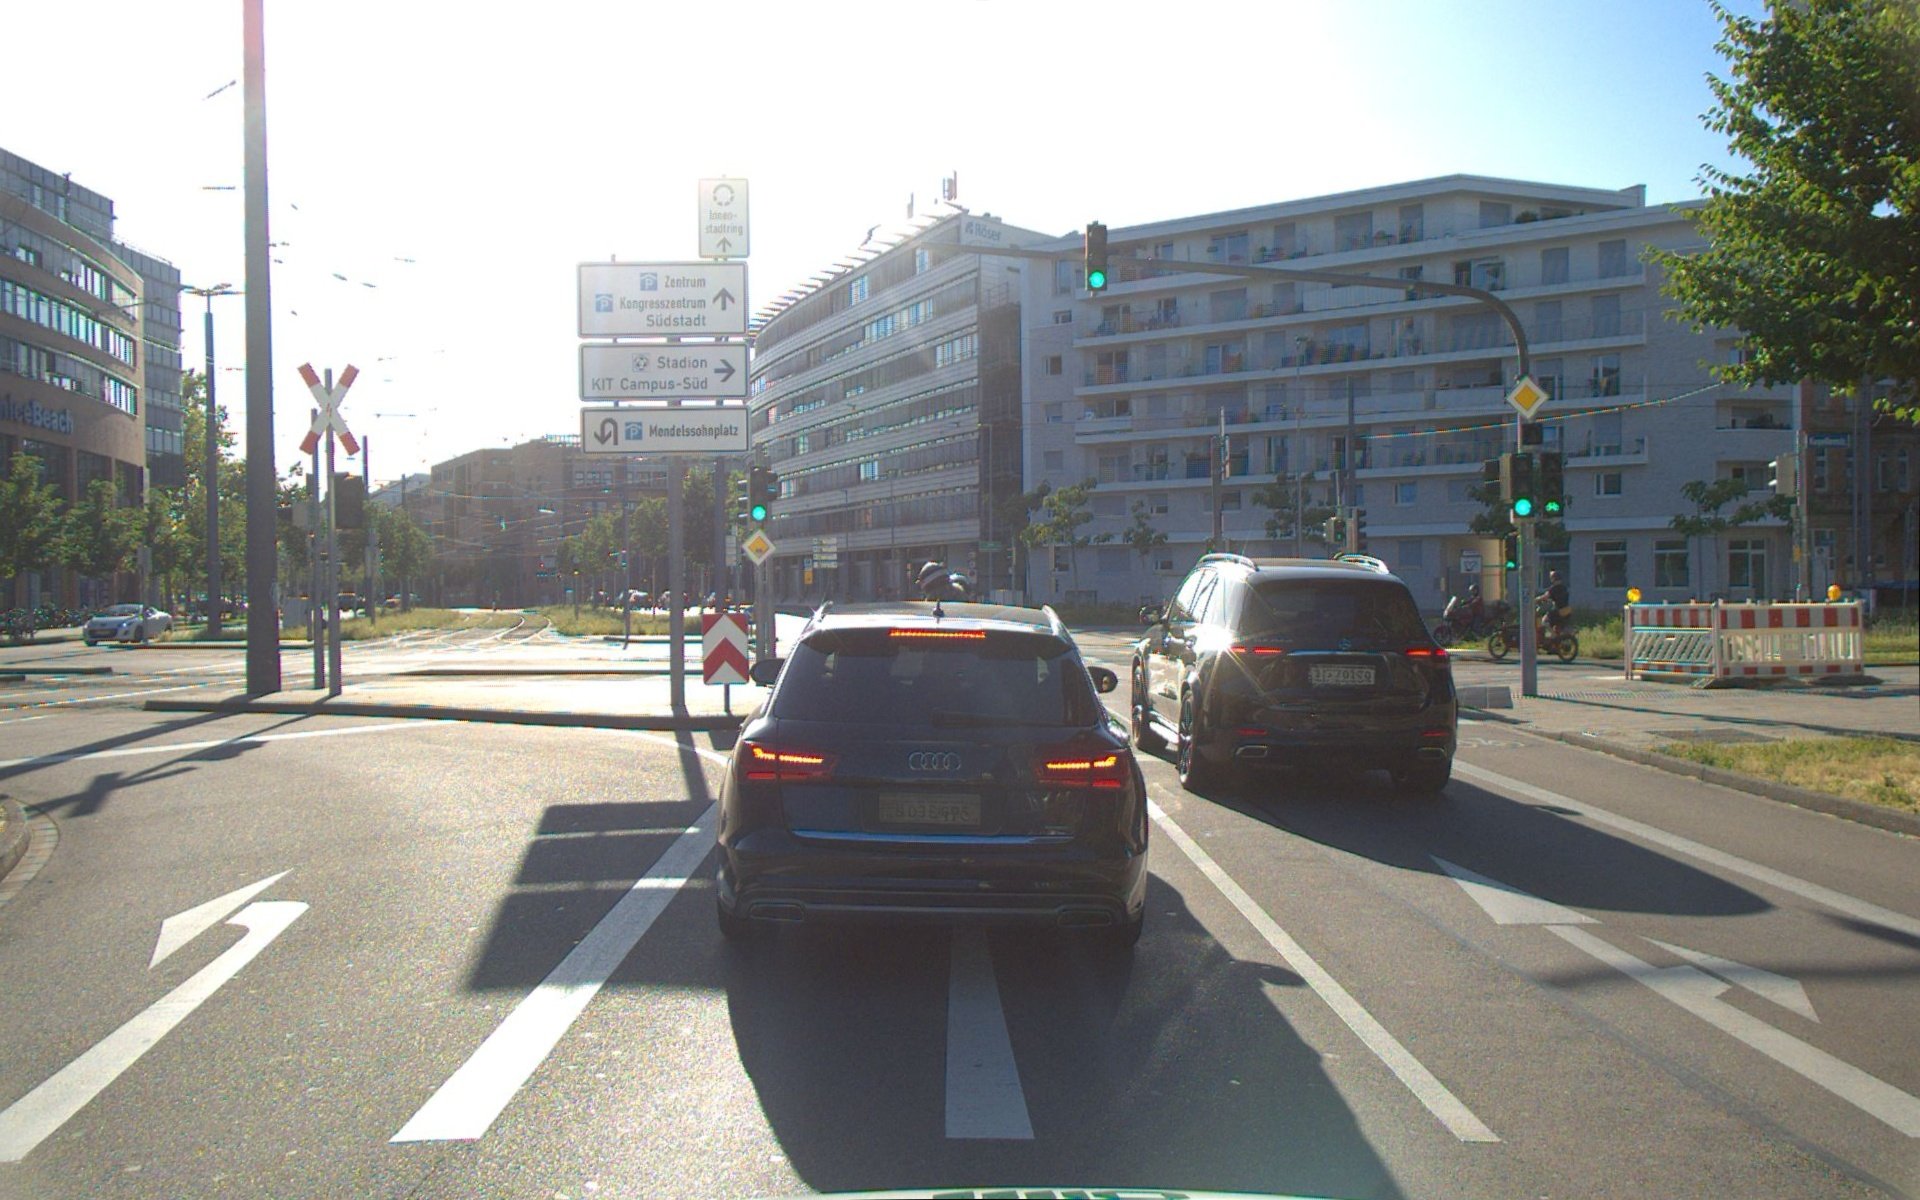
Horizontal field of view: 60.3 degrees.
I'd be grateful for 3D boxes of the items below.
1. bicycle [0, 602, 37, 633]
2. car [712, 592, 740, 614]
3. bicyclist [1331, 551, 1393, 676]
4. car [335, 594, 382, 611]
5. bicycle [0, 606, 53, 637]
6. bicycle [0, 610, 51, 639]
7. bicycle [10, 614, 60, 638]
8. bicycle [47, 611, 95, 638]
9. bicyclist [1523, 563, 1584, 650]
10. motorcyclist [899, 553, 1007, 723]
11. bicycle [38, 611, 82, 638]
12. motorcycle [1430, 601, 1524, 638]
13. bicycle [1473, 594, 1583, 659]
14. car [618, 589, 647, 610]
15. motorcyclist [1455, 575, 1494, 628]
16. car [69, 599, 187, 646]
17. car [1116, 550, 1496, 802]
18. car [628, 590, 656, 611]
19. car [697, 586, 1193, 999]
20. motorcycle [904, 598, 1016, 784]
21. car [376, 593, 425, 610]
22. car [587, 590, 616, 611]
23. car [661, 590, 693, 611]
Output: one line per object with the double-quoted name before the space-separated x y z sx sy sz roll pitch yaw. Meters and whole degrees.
"bicycle" -46.373 0.869 80.426 2.507 1.458 0.905 -2 -1 8
"car" -21.061 0.245 148.888 1.961 1.870 3.982 -1 0 -16
"bicyclist" 5.515 0.175 22.733 0.640 1.671 0.972 -1 1 2
"car" -60.724 0.204 167.023 1.953 1.668 4.411 -1 0 22
"bicycle" -46.806 1.082 82.667 2.507 1.458 0.905 -2 -1 8
"bicycle" -50.410 1.319 89.039 2.551 1.458 0.772 -2 -1 8
"bicycle" -50.592 1.404 90.463 2.362 1.257 0.745 -2 -1 8
"bicycle" -50.787 1.393 94.523 2.369 1.458 0.789 -2 -1 8
"bicyclist" 12.064 0.121 33.619 0.761 1.736 0.916 -1 0 -41
"motorcyclist" -0.057 0.301 13.506 0.845 1.349 0.681 -1 0 -1
"bicycle" -50.875 1.394 93.484 2.092 1.458 0.759 -2 -1 8
"motorcycle" 14.810 0.564 47.468 2.400 1.018 1.173 -1 0 9
"bicycle" 11.684 0.532 34.065 0.761 1.284 2.051 -1 0 -40
"car" -28.743 -0.044 145.072 1.963 1.736 3.978 -1 0 -19
"motorcyclist" 14.757 0.039 47.463 0.905 1.507 1.173 -1 0 9
"car" -29.943 0.785 59.676 1.953 1.572 4.530 -1 1 -1
"car" 2.642 0.511 13.795 1.963 1.745 4.369 1 1 -4
"car" -26.787 0.041 139.112 1.961 1.624 3.982 -1 0 -16
"car" -0.093 0.696 8.089 1.805 1.479 3.999 1 1 -1
"motorcycle" -0.009 0.696 13.633 0.845 1.417 1.893 -1 0 -1
"car" -56.301 0.137 166.403 1.958 1.668 4.399 -1 0 33
"car" -31.263 0.044 144.262 1.963 1.736 3.978 -1 0 -19
"car" -23.433 0.070 136.734 1.964 1.624 3.977 -1 0 -19
